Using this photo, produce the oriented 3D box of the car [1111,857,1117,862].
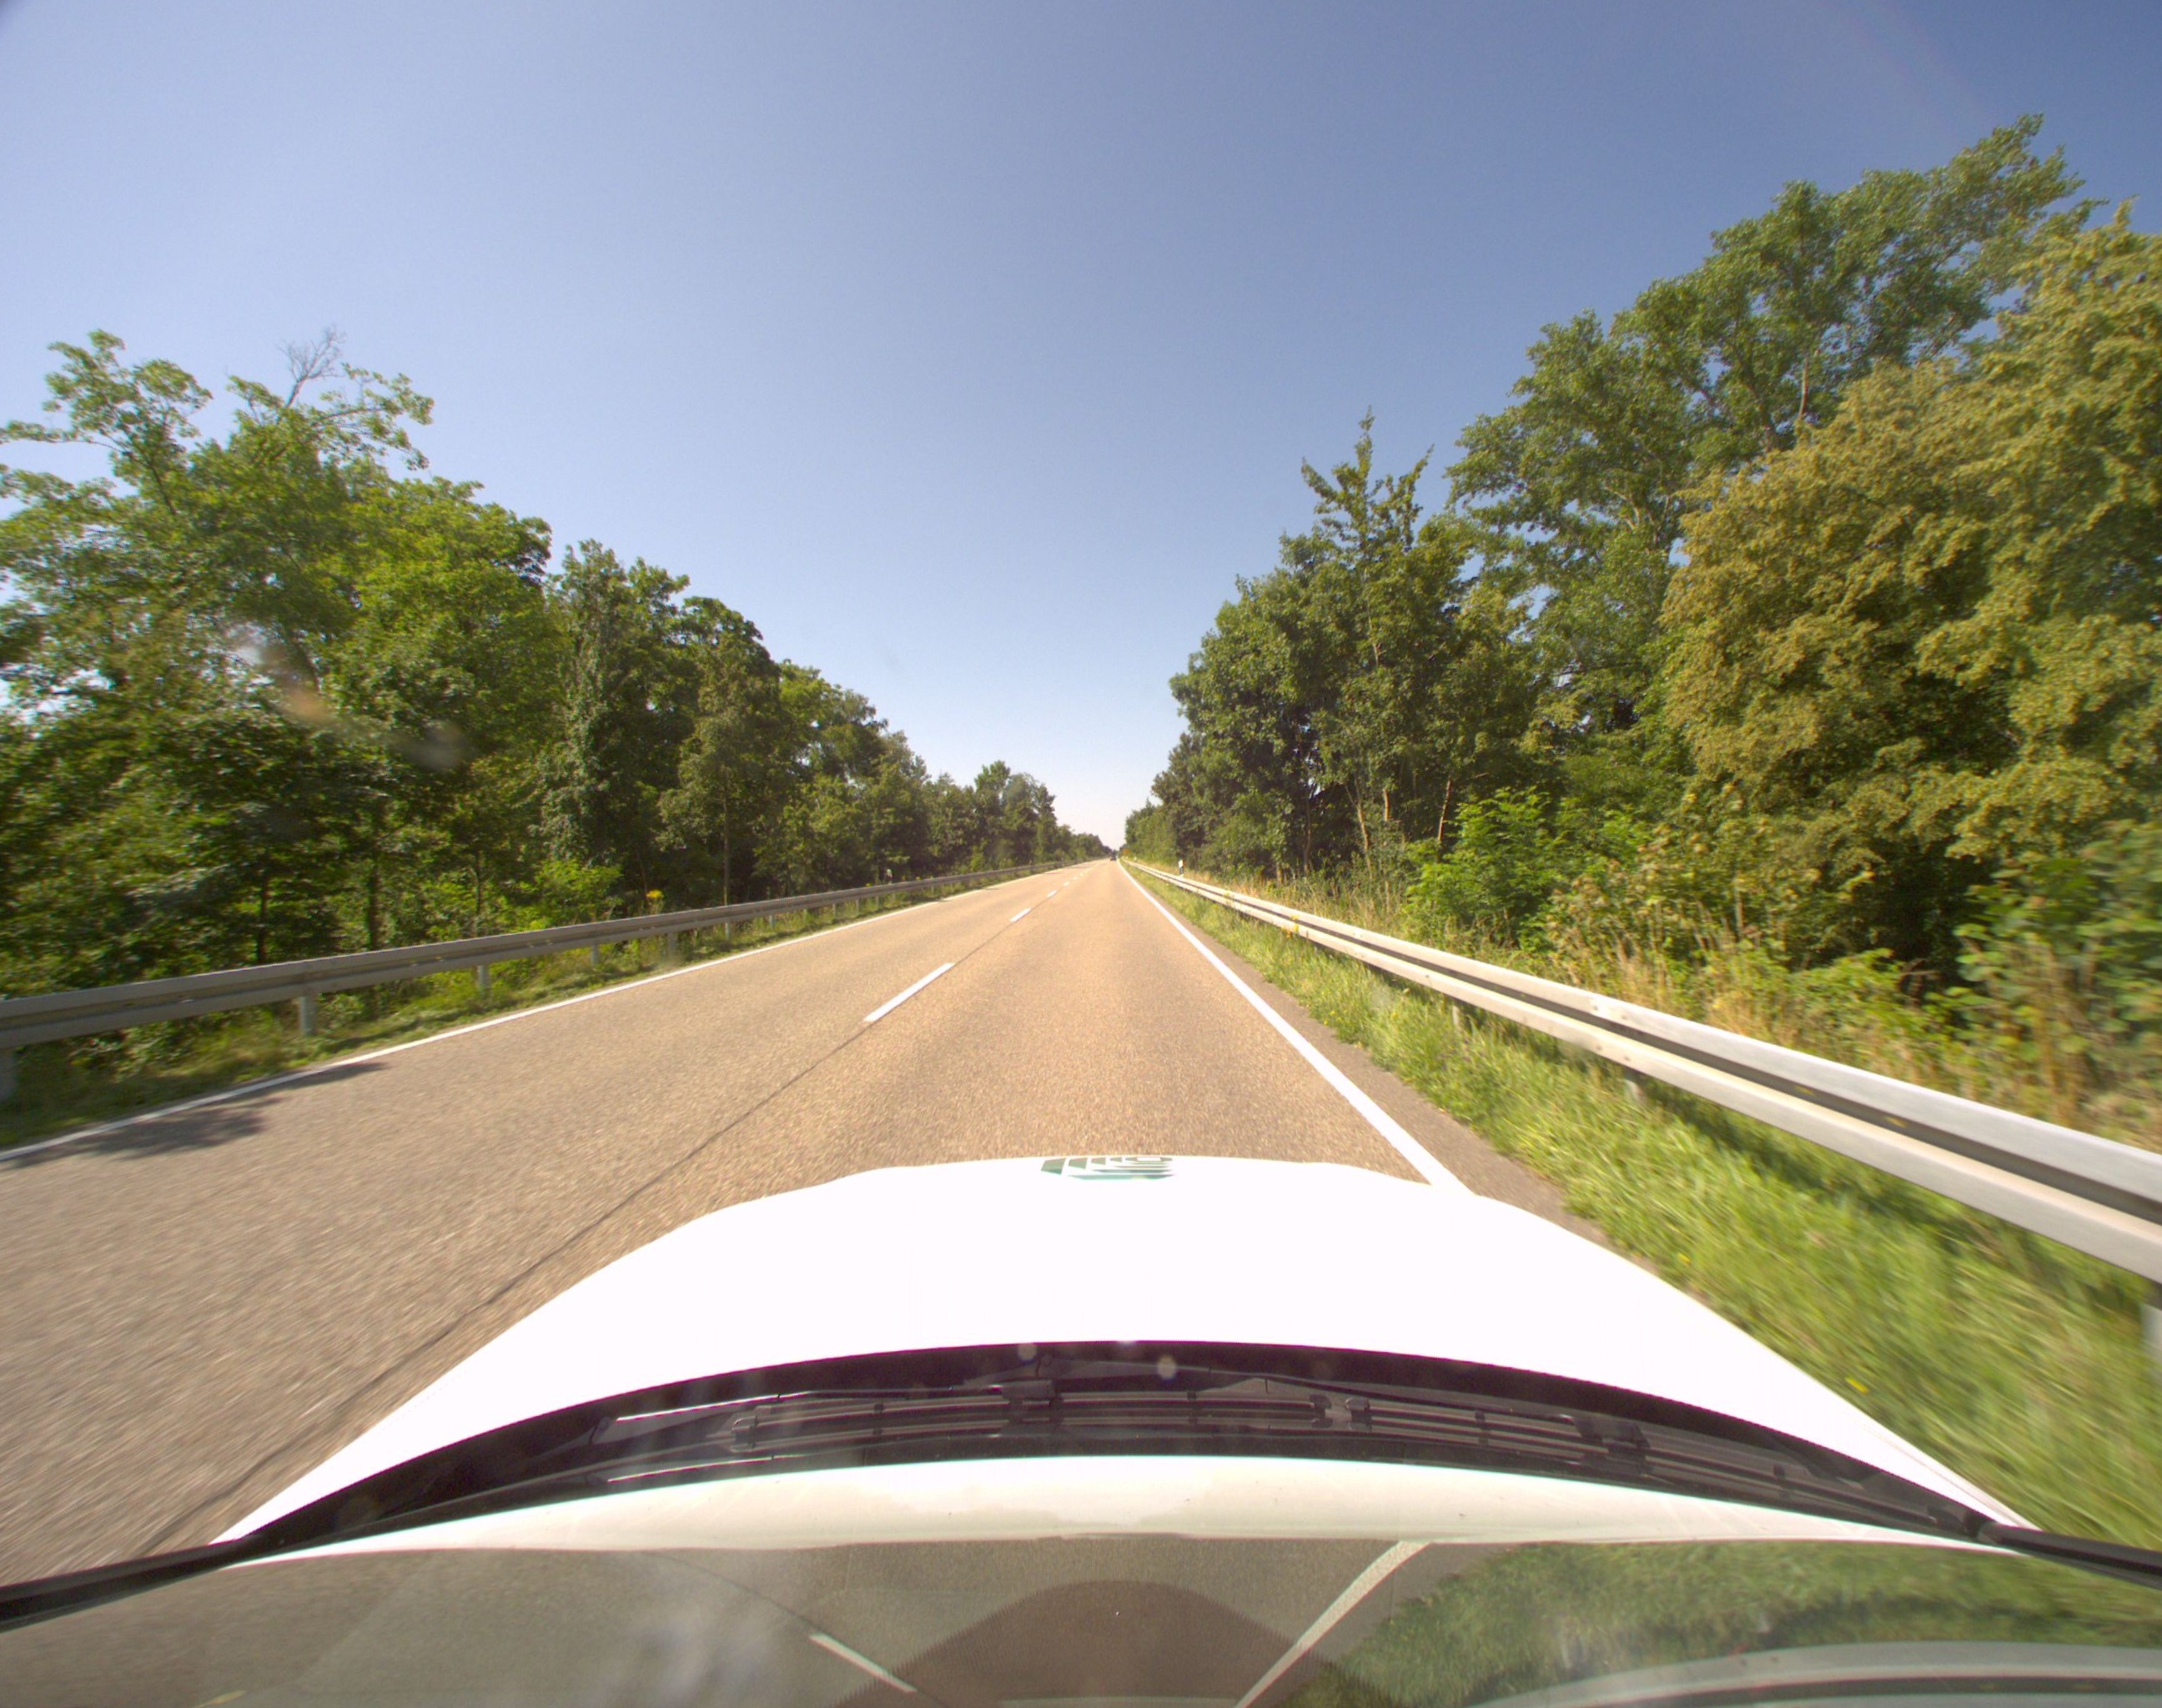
[{"bbox_3d":[9.521,1.610,234.148,1.733,1.470,3.696,-1,0,4],"label":"car"}]
